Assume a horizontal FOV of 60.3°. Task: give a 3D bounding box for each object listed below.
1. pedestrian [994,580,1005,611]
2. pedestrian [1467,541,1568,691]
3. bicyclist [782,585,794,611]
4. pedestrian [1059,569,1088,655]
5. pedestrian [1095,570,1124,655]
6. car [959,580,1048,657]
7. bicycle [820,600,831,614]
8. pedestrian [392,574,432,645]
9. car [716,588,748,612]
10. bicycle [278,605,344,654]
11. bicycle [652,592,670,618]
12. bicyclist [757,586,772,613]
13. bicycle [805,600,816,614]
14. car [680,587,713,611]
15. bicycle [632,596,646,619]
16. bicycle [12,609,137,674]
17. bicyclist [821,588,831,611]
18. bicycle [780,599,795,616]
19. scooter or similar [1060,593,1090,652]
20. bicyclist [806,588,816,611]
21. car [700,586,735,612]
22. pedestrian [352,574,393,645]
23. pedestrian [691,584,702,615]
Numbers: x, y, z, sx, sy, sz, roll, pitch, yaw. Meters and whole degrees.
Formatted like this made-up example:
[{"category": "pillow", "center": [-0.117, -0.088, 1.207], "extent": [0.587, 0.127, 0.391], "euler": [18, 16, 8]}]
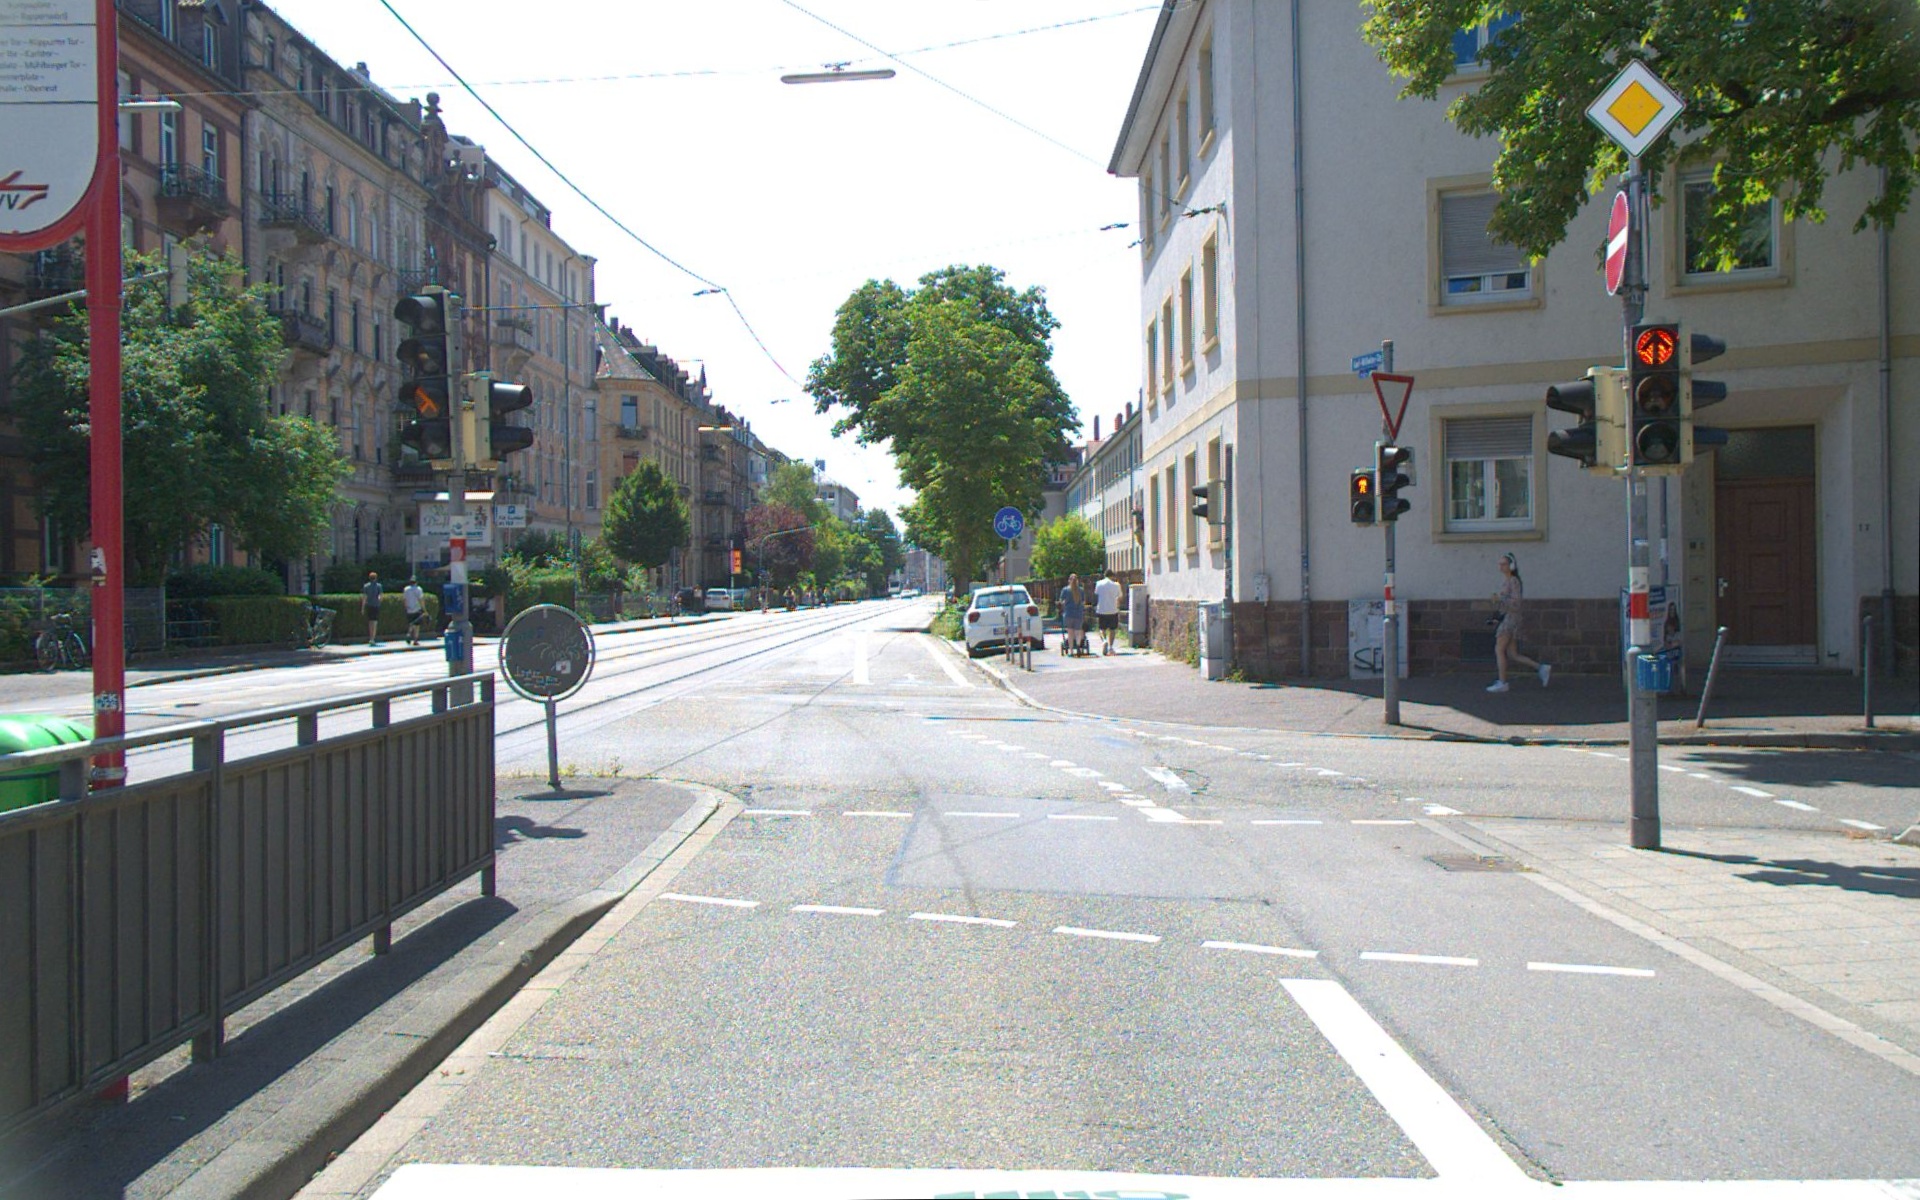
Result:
[{"category": "pedestrian", "center": [2.024, -0.234, 84.695], "extent": [0.511, 1.590, 0.573], "euler": [-1, 0, -1]}, {"category": "pedestrian", "center": [6.886, 0.197, 20.430], "extent": [1.032, 1.719, 0.654], "euler": [-5, 3, 20]}, {"category": "bicyclist", "center": [-12.035, -0.138, 115.686], "extent": [0.712, 1.799, 1.079], "euler": [1, 0, 1]}, {"category": "pedestrian", "center": [2.256, 0.231, 32.836], "extent": [0.545, 1.674, 0.677], "euler": [1, -1, 5]}, {"category": "pedestrian", "center": [2.994, 0.245, 33.084], "extent": [0.545, 1.674, 0.677], "euler": [1, -1, 5]}, {"category": "car", "center": [0.932, 0.400, 37.320], "extent": [1.778, 1.542, 3.999], "euler": [-3, 0, -1]}, {"category": "bicycle", "center": [-11.241, 0.608, 138.676], "extent": [0.712, 1.142, 2.085], "euler": [1, 0, 1]}, {"category": "pedestrian", "center": [-14.665, 0.248, 44.266], "extent": [0.800, 1.854, 0.873], "euler": [1, 1, -5]}, {"category": "car", "center": [-17.032, -0.012, 123.571], "extent": [1.880, 1.745, 3.999], "euler": [1, 0, -1]}, {"category": "bicycle", "center": [-15.870, 0.701, 40.514], "extent": [0.920, 1.156, 2.767], "euler": [1, 0, -9]}, {"category": "bicycle", "center": [-15.268, 0.256, 84.433], "extent": [0.664, 1.301, 1.917], "euler": [-1, 0, -4]}, {"category": "bicyclist", "center": [-12.153, -0.030, 102.849], "extent": [0.712, 1.657, 1.079], "euler": [1, 0, 1]}, {"category": "bicycle", "center": [-12.504, 0.613, 138.509], "extent": [0.712, 1.142, 2.085], "euler": [1, 0, 1]}, {"category": "car", "center": [-19.663, -0.058, 123.606], "extent": [1.880, 1.745, 3.999], "euler": [1, 0, -1]}, {"category": "bicycle", "center": [-15.491, 0.341, 79.785], "extent": [0.665, 1.083, 1.913], "euler": [-1, 0, -12]}, {"category": "bicycle", "center": [-16.709, 0.759, 31.302], "extent": [0.918, 1.156, 2.773], "euler": [1, 0, -2]}, {"category": "bicyclist", "center": [-11.222, -0.043, 138.715], "extent": [0.712, 1.850, 1.079], "euler": [1, 0, 1]}, {"category": "bicycle", "center": [-12.058, 0.531, 115.674], "extent": [0.712, 1.142, 2.085], "euler": [1, 0, 1]}, {"category": "scooter or similar", "center": [2.344, 0.451, 33.788], "extent": [0.545, 1.175, 1.205], "euler": [1, 0, 2]}, {"category": "bicyclist", "center": [-12.482, -0.039, 138.612], "extent": [0.712, 1.850, 1.079], "euler": [1, 0, 1]}, {"category": "car", "center": [-16.864, -0.045, 115.310], "extent": [1.880, 1.745, 3.999], "euler": [1, 0, -1]}, {"category": "pedestrian", "center": [-15.584, 0.244, 43.901], "extent": [0.800, 1.854, 0.873], "euler": [1, 1, -5]}, {"category": "pedestrian", "center": [-14.478, -0.041, 90.943], "extent": [0.510, 1.688, 0.529], "euler": [-1, 0, -1]}]
